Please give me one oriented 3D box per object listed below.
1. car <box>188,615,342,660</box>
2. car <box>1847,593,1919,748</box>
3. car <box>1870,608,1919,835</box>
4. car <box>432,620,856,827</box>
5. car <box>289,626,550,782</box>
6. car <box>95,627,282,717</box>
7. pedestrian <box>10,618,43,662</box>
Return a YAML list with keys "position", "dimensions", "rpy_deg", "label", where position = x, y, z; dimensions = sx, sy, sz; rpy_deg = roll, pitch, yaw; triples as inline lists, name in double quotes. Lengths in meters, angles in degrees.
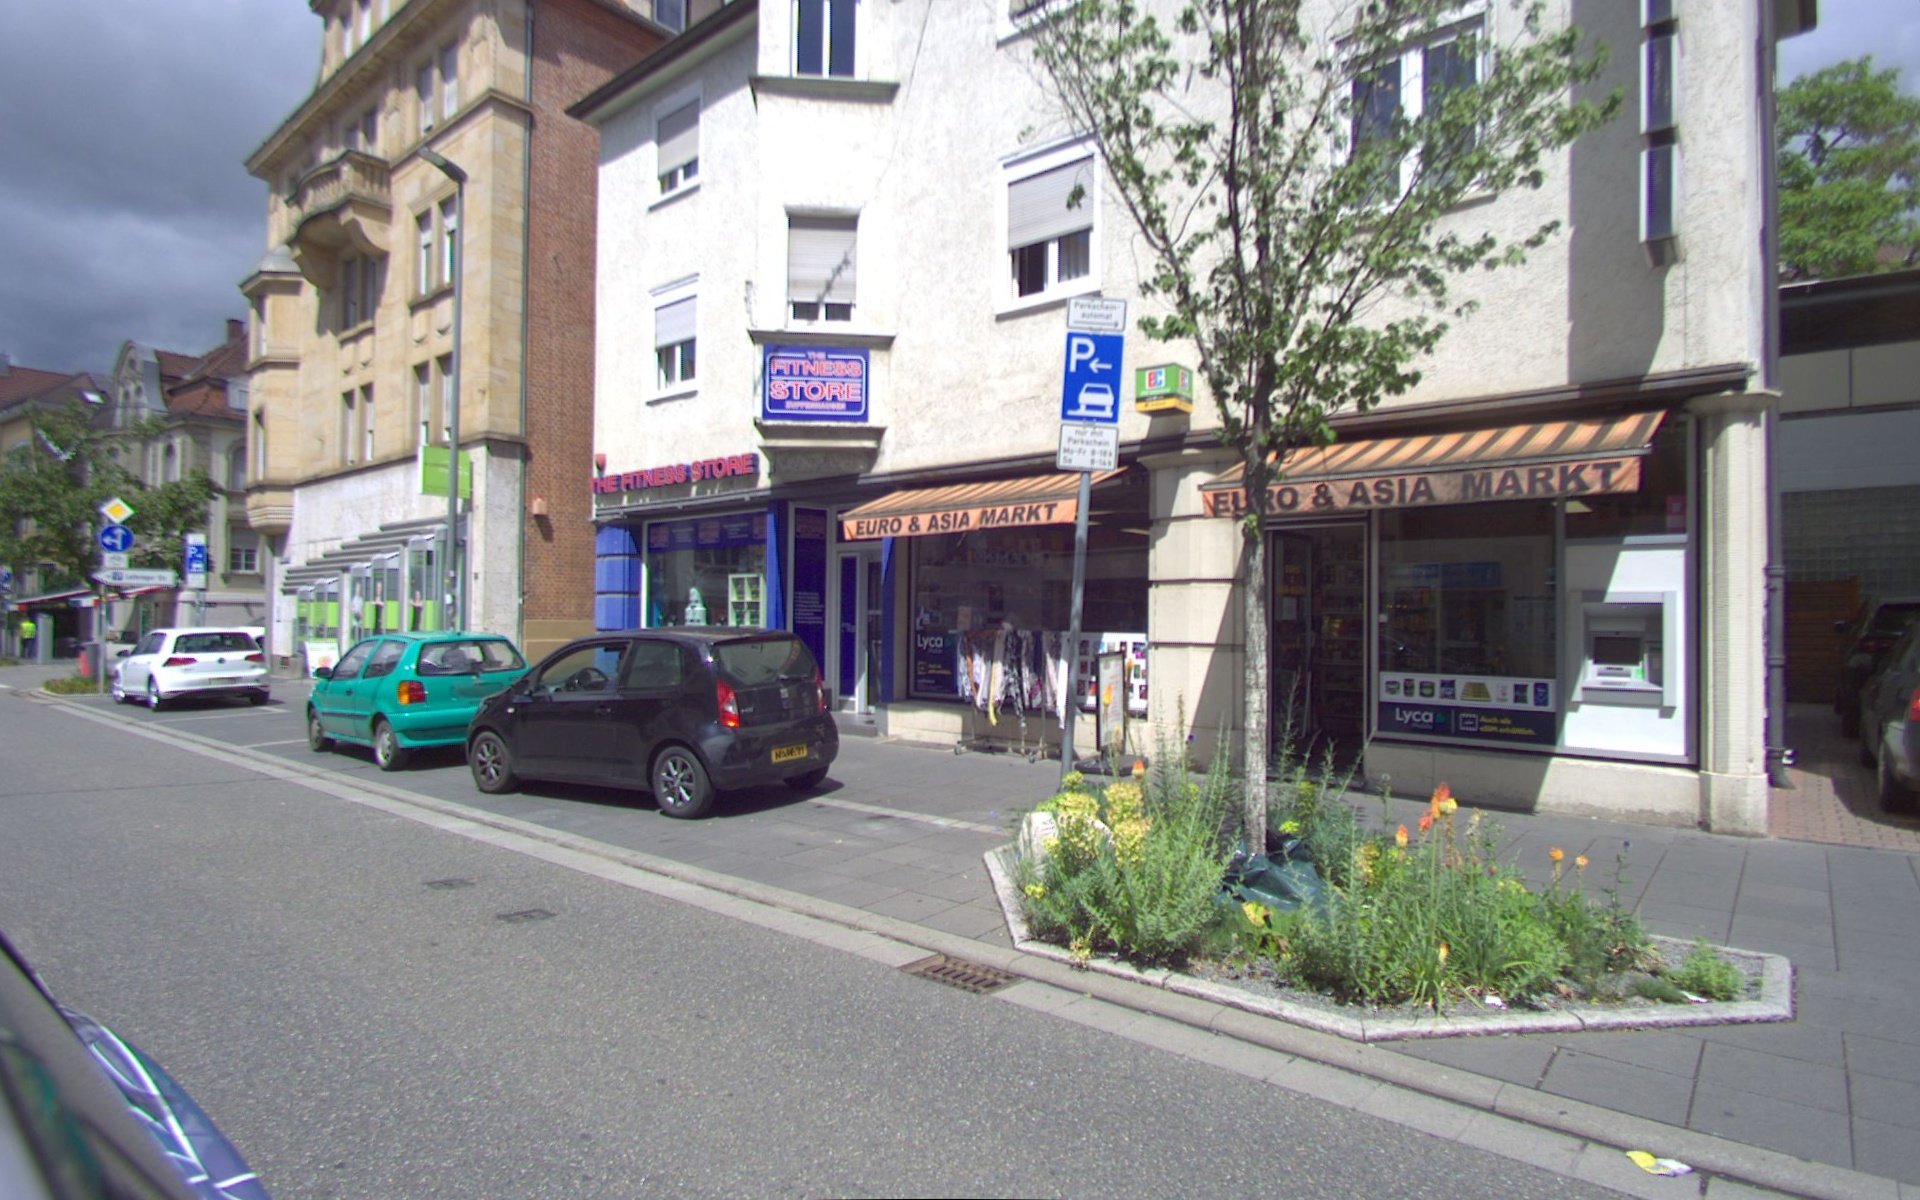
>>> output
- position: [-25.476, 1.335, 37.284]
  dimensions: [1.985, 1.391, 4.359]
  rpy_deg: [-1, 1, 20]
  label: "car"
- position: [11.356, 0.714, 11.594]
  dimensions: [1.655, 1.575, 3.782]
  rpy_deg: [0, 0, 39]
  label: "car"
- position: [8.019, 0.796, 7.541]
  dimensions: [1.655, 1.420, 3.782]
  rpy_deg: [0, 0, 39]
  label: "car"
- position: [-2.822, 0.945, 8.907]
  dimensions: [3.542, 1.457, 1.586]
  rpy_deg: [-1, 0, 30]
  label: "car"
- position: [-6.353, 1.068, 11.736]
  dimensions: [3.668, 1.425, 1.569]
  rpy_deg: [0, 0, 43]
  label: "car"
- position: [-14.611, 1.271, 19.105]
  dimensions: [4.031, 1.408, 1.828]
  rpy_deg: [0, 0, 38]
  label: "car"
- position: [-38.574, 1.640, 41.824]
  dimensions: [0.810, 1.770, 0.792]
  rpy_deg: [0, 0, 32]
  label: "pedestrian"
